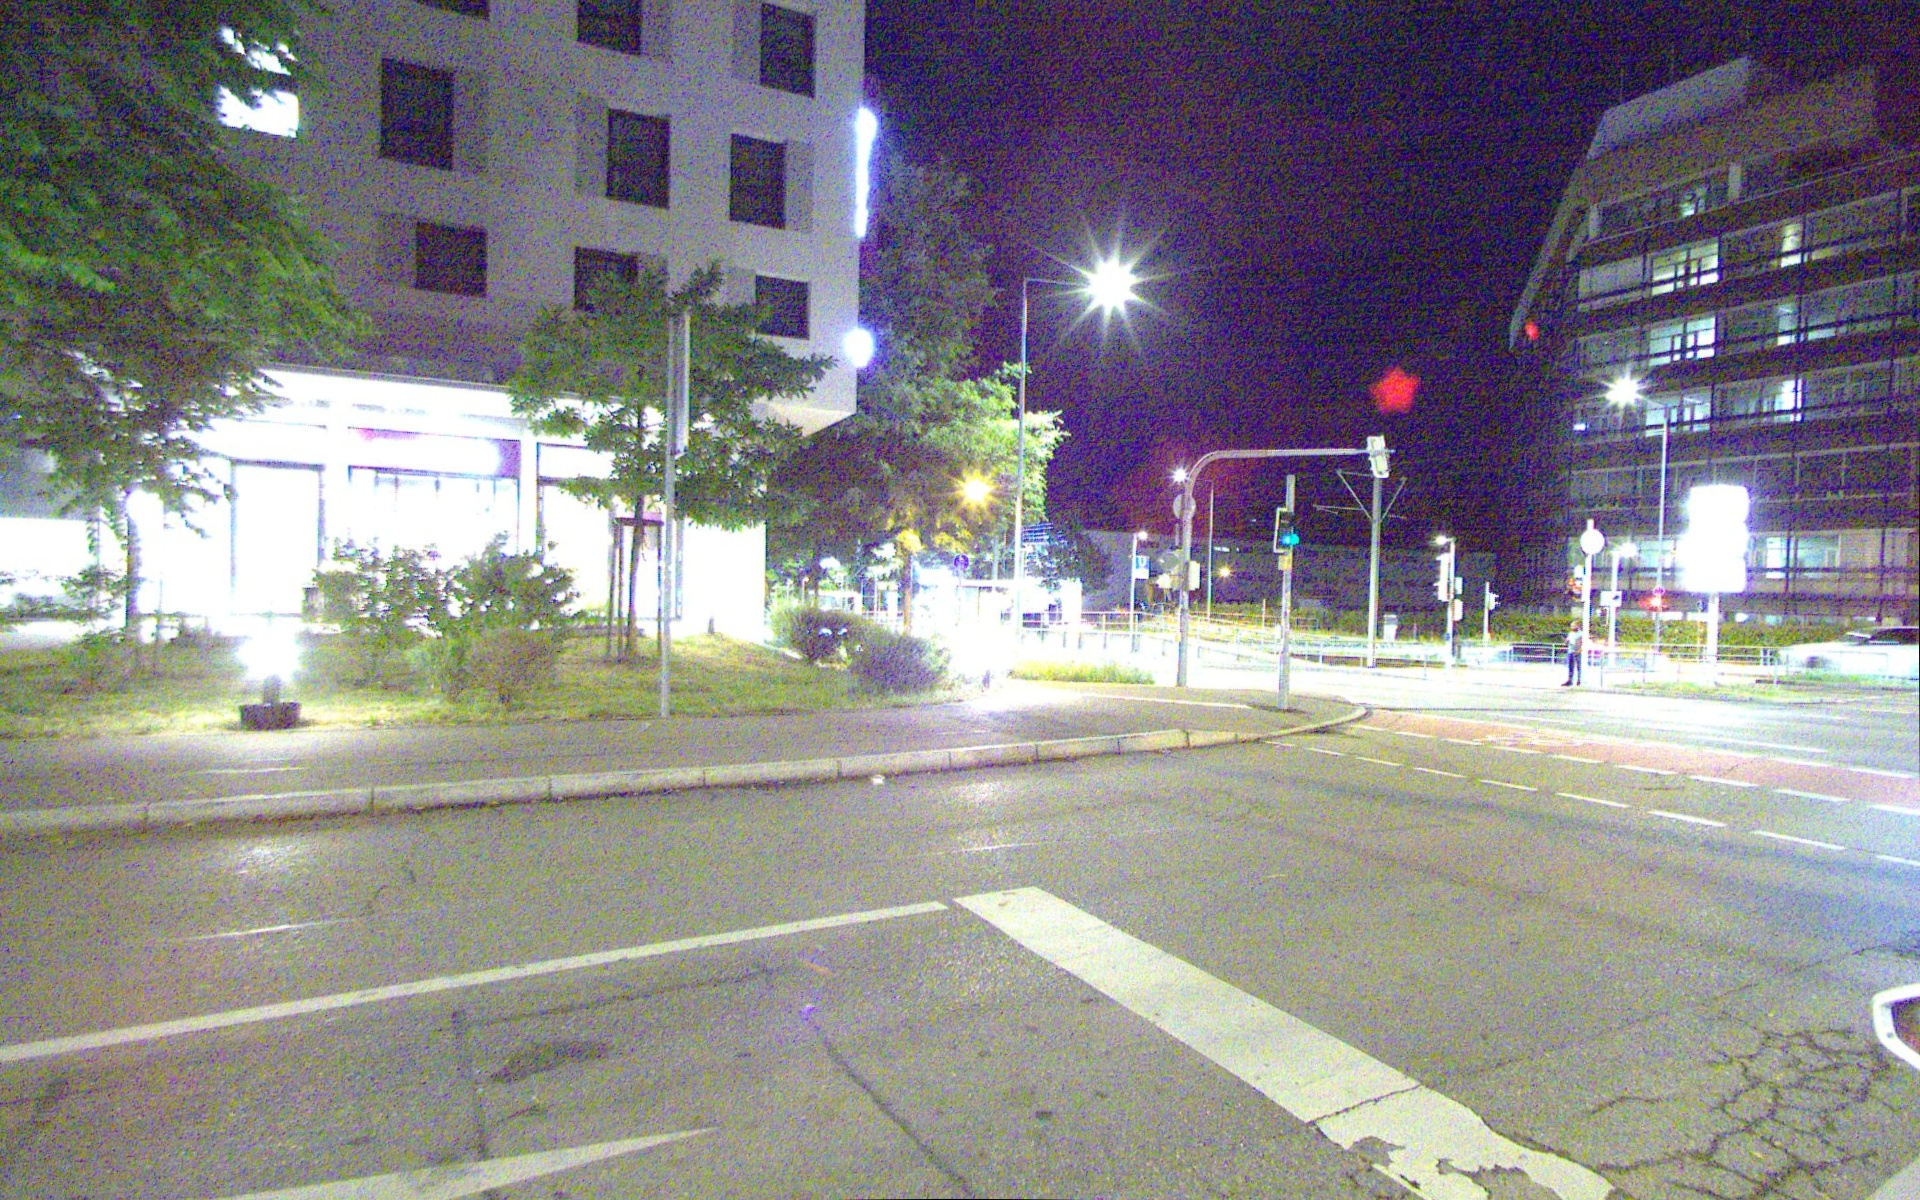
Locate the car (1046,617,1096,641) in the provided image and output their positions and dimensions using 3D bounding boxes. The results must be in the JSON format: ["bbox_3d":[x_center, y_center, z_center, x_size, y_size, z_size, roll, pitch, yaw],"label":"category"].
[{"bbox_3d":[8.832,2.312,80.188,1.916,1.665,4.382,3,0,-26],"label":"car"}]

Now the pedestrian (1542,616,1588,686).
[{"bbox_3d":[15.592,1.311,25.888,0.693,1.745,0.679,2,0,-5],"label":"pedestrian"}]

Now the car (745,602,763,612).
[{"bbox_3d":[-33.458,1.135,162.935,1.845,1.506,3.822,3,0,-26],"label":"car"}]

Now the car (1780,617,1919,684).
[{"bbox_3d":[27.867,1.500,30.104,1.819,1.868,4.764,3,-1,-26],"label":"car"}]

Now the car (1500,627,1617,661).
[{"bbox_3d":[27.151,1.990,45.722,1.819,1.406,4.313,3,-2,-26],"label":"car"}]
